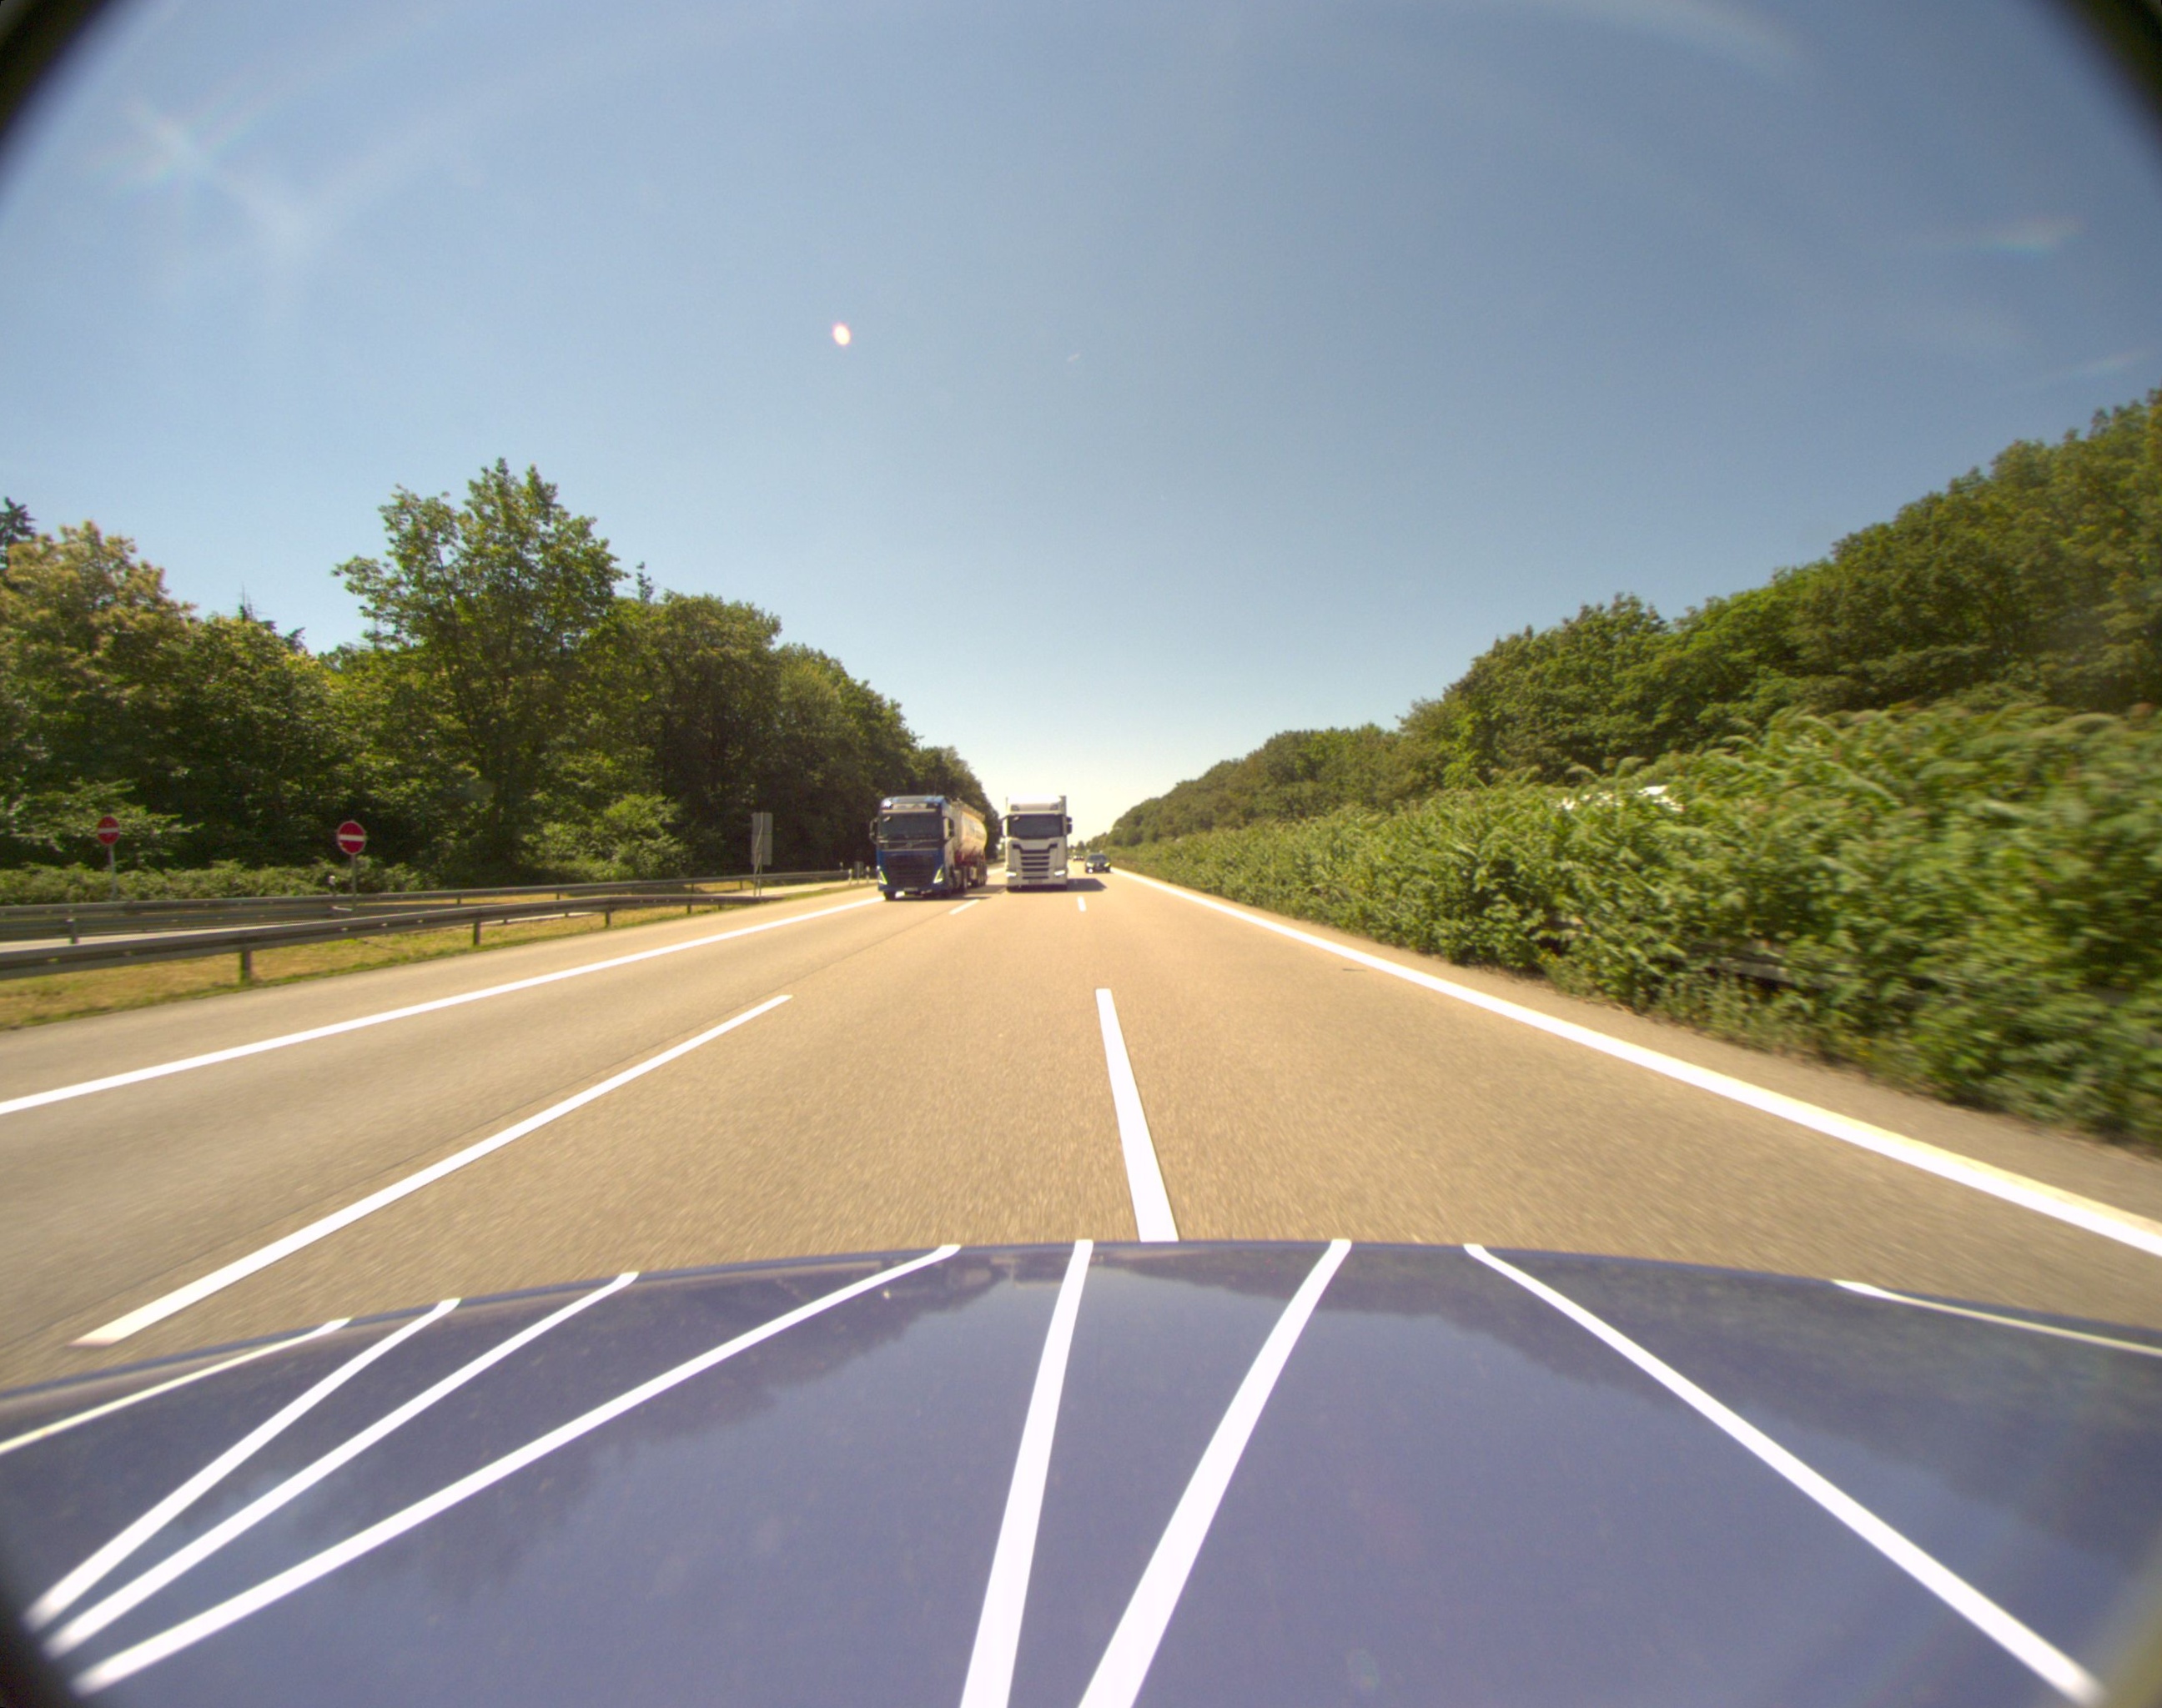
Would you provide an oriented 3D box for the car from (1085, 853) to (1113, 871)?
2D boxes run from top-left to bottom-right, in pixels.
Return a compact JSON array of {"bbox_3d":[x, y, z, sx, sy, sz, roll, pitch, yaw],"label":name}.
[{"bbox_3d":[1.343,0.615,58.564,1.887,1.341,4.466,0,0,-3],"label":"car"}]

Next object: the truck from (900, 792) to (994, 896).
[{"bbox_3d":[-5.855,-0.428,35.065,2.449,4.020,10.539,-1,1,-1],"label":"truck"}]

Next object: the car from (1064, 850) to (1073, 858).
[{"bbox_3d":[-3.149,0.041,187.931,1.999,2.002,3.998,-1,0,-5],"label":"car"}]

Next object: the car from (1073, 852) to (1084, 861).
[{"bbox_3d":[-0.477,0.430,135.951,1.887,1.634,3.999,0,0,-1],"label":"car"}]

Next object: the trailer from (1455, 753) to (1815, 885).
[{"bbox_3d":[18.454,-0.996,27.472,2.972,3.549,13.430,-1,0,-1],"label":"trailer"}]

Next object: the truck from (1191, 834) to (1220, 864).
[{"bbox_3d":[17.206,-0.699,105.197,2.824,3.948,5.871,0,1,-2],"label":"truck"}]

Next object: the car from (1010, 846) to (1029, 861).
[{"bbox_3d":[-6.827,-0.065,84.650,1.715,1.669,4.000,-2,0,1],"label":"car"}]

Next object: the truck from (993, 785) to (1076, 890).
[{"bbox_3d":[-1.915,-0.669,32.379,3.237,4.133,4.558,0,0,-2],"label":"truck"}]

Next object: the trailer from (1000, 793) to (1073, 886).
[{"bbox_3d":[-2.205,-0.659,40.148,3.232,4.119,12.348,0,0,-2],"label":"trailer"}]

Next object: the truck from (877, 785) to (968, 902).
[{"bbox_3d":[-5.792,-0.385,28.350,2.455,4.014,4.070,-1,1,-1],"label":"truck"}]

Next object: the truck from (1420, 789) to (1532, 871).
[{"bbox_3d":[18.281,-1.055,35.473,2.972,3.537,4.222,-1,1,-1],"label":"truck"}]
